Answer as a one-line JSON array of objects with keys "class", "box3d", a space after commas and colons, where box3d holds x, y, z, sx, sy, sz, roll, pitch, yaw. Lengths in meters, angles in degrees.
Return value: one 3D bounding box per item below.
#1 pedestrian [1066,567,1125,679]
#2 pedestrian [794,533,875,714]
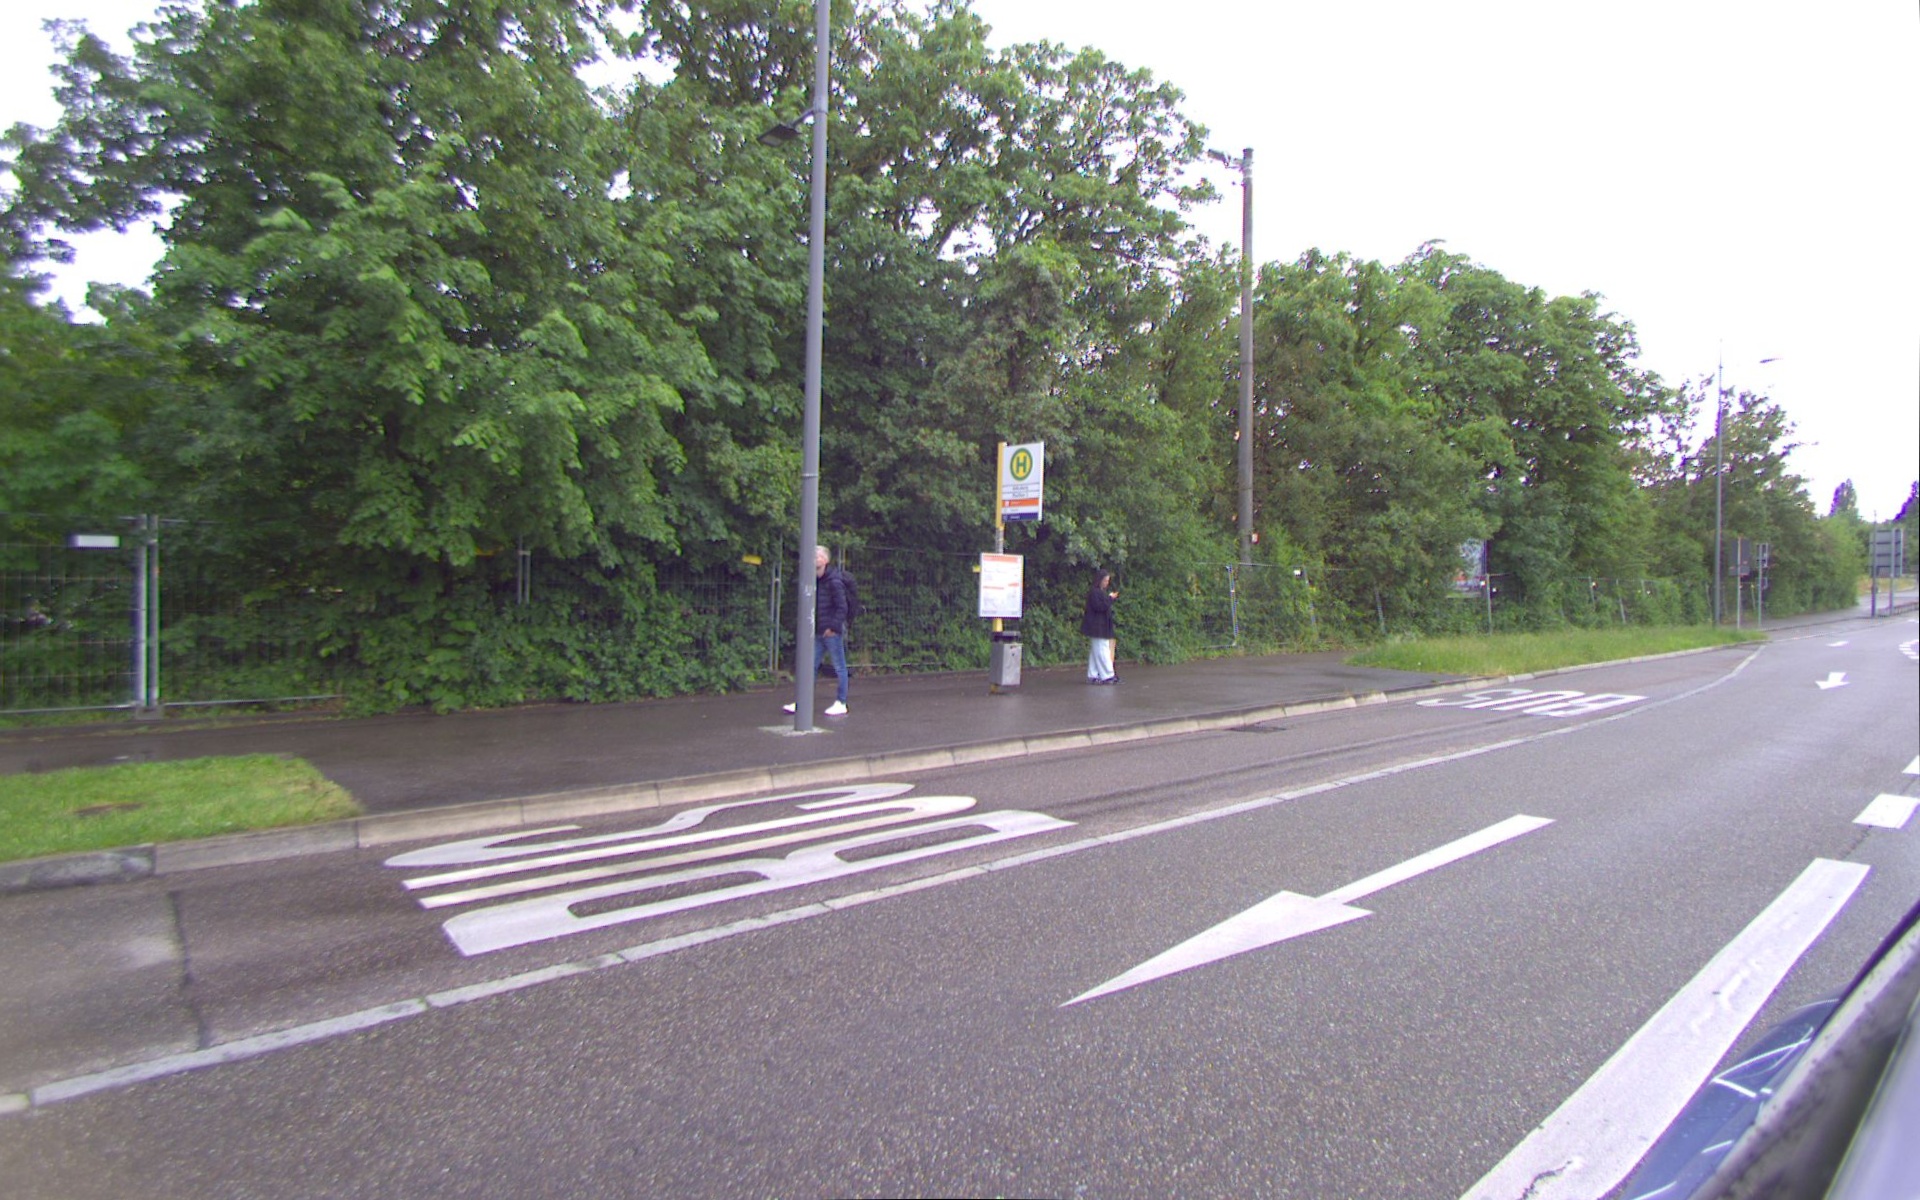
[{"class": "pedestrian", "box3d": [2.044, 0.329, 15.271, 0.650, 1.648, 0.588, 0, 1, -40]}, {"class": "pedestrian", "box3d": [-1.431, 0.246, 11.487, 0.587, 1.973, 0.742, 0, 1, -40]}]
